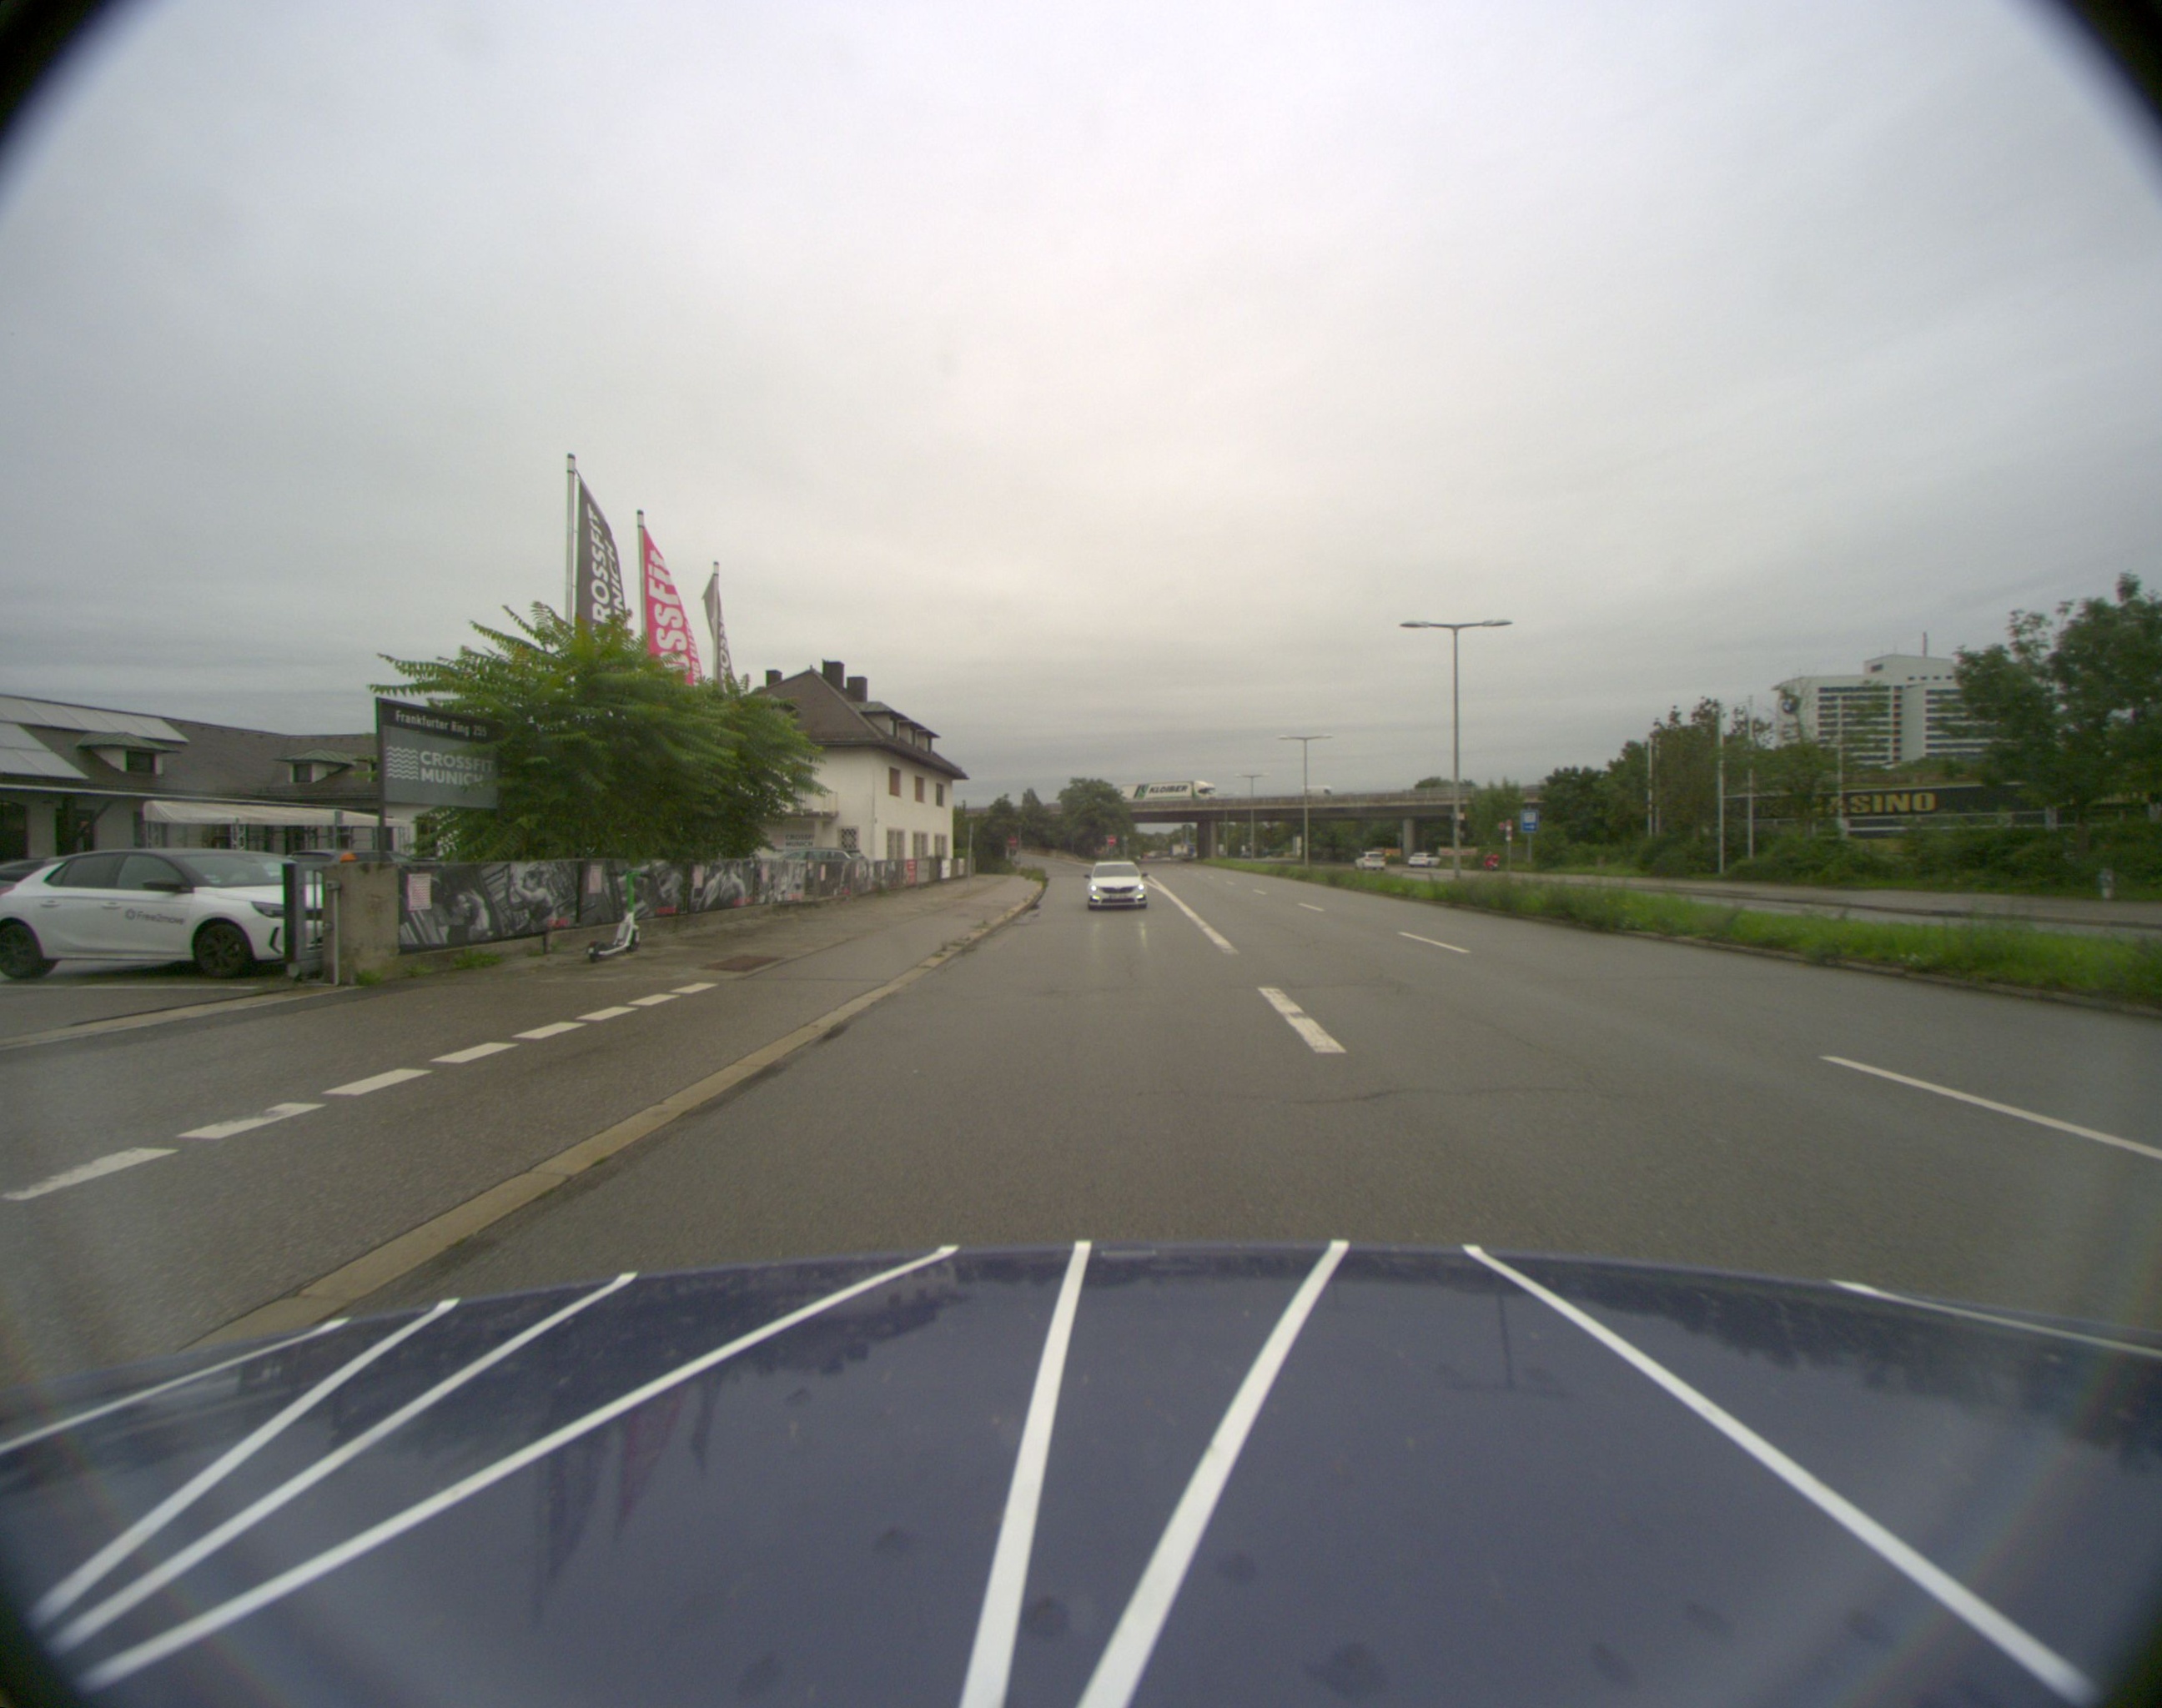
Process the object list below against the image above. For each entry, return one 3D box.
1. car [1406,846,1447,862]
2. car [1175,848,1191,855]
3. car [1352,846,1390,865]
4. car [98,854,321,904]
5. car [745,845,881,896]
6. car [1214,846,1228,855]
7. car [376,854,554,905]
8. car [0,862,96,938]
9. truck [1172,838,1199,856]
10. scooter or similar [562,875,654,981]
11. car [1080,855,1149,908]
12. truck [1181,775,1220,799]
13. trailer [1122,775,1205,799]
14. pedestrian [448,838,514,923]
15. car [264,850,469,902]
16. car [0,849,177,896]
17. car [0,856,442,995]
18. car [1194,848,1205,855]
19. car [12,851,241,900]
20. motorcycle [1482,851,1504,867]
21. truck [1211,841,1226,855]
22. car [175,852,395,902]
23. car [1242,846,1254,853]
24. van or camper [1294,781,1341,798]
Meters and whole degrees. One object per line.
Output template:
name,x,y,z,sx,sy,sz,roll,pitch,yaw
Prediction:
car,35.435,-0.028,77.783,5.129,1.563,1.994,-1,1,-43
car,25.721,-0.670,191.171,1.978,1.573,4.582,0,-1,-22
car,25.712,0.083,67.459,1.998,1.563,4.575,0,1,5
car,-28.529,0.745,25.146,1.925,1.460,4.549,-1,0,5
car,-9.459,0.573,27.063,4.105,1.716,1.927,-1,0,3
car,27.563,-0.706,149.744,1.973,1.574,4.591,2,1,3
car,-19.589,0.753,24.414,1.924,1.485,4.113,-1,0,12
car,-20.985,0.881,13.045,1.925,1.379,4.621,-1,0,5
truck,27.204,-1.884,199.073,2.802,4.566,9.582,1,2,-20
scooter or similar,-6.274,0.940,10.152,0.398,1.216,1.638,2,1,-8
car,1.145,0.779,23.805,1.914,1.439,4.558,-2,0,5
truck,17.794,-9.958,113.519,5.178,3.228,2.602,3,4,42
trailer,12.611,-10.334,118.355,14.016,3.280,2.671,3,4,43
pedestrian,-13.758,0.590,17.440,0.735,1.890,0.932,-1,1,0
car,-22.559,0.638,24.294,1.924,1.503,4.541,-1,0,8
car,-34.134,0.577,25.588,1.925,1.460,4.406,-1,0,5
car,-10.293,0.764,9.026,4.022,1.452,1.794,0,0,5
car,27.694,-0.655,177.936,1.974,1.574,4.590,2,1,1
car,-31.546,0.654,25.367,1.925,1.460,4.406,-1,0,5
motorcycle,30.235,0.354,55.759,0.534,1.169,2.196,0,1,4
truck,29.772,-1.360,164.404,2.258,2.960,7.234,2,1,4
car,-25.394,0.668,24.545,1.924,1.460,4.633,-1,0,8
car,34.946,-0.936,159.128,1.973,1.389,4.817,1,2,6
van or camper,31.427,-8.589,101.190,5.490,2.002,2.336,2,3,43
